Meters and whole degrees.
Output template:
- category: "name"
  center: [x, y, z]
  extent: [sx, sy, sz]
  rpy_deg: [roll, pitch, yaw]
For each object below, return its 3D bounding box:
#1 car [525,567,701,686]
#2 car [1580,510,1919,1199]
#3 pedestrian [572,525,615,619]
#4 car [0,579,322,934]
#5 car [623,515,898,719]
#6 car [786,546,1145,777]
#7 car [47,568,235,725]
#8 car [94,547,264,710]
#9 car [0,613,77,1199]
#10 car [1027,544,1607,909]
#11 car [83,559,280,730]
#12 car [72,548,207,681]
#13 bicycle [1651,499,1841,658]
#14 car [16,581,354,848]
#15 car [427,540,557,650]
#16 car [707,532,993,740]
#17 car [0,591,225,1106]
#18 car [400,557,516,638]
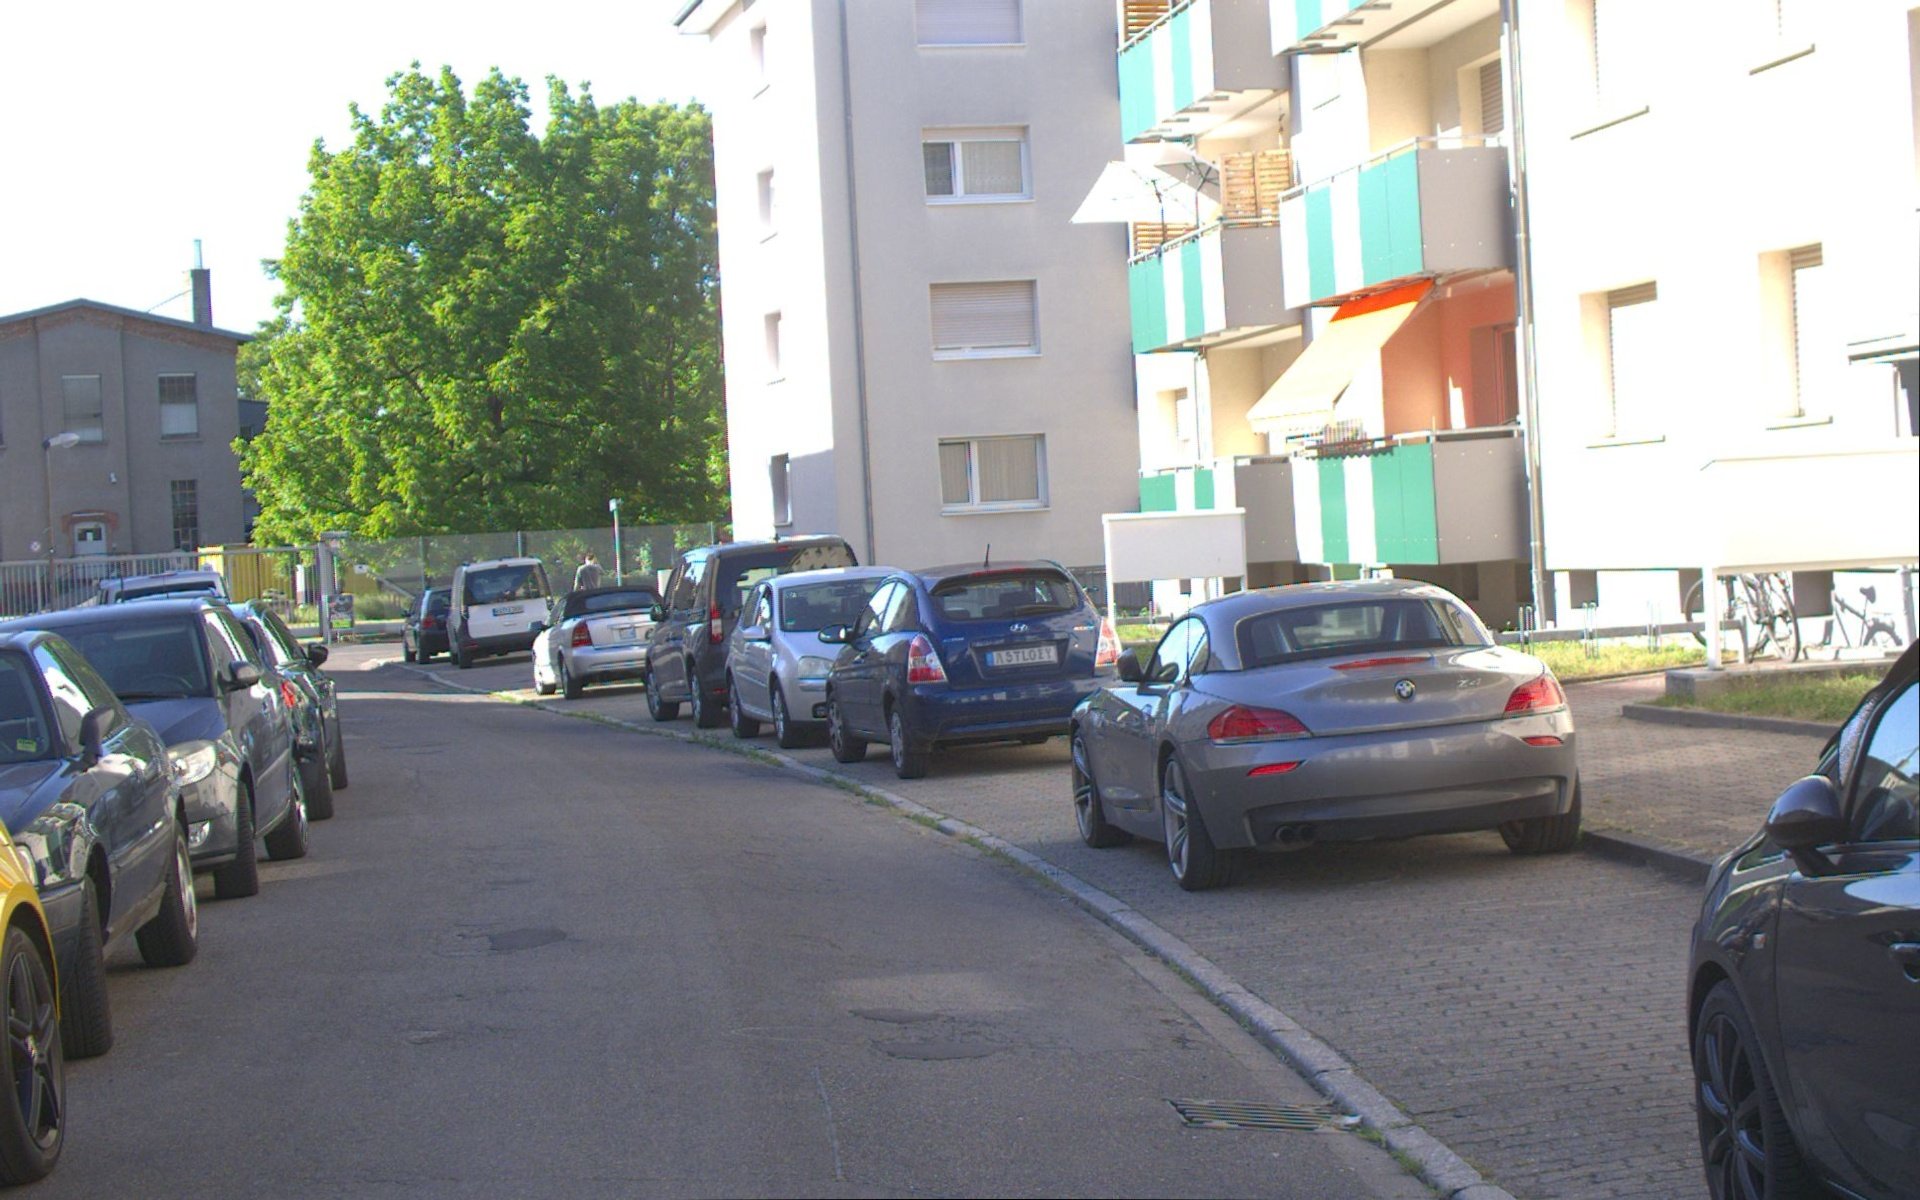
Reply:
- category: "car"
  center: [-4.651, 0.315, 45.664]
  extent: [1.717, 1.359, 4.056]
  rpy_deg: [-5, 2, -13]
- category: "car"
  center: [2.450, 0.575, 5.872]
  extent: [1.735, 1.503, 3.886]
  rpy_deg: [-6, 2, -3]
- category: "pedestrian"
  center: [-7.307, -0.557, 68.568]
  extent: [0.654, 1.809, 0.614]
  rpy_deg: [-5, 1, -3]
- category: "car"
  center: [-4.262, 0.729, 17.660]
  extent: [1.478, 1.472, 3.632]
  rpy_deg: [-7, 1, -6]
- category: "car"
  center: [-2.125, 0.176, 35.336]
  extent: [1.896, 1.849, 4.345]
  rpy_deg: [-4, 1, -14]
- category: "car"
  center: [-0.064, 0.408, 25.703]
  extent: [1.737, 1.427, 4.357]
  rpy_deg: [-5, 1, -11]
- category: "car"
  center: [-9.240, 0.493, 38.749]
  extent: [1.832, 1.510, 4.001]
  rpy_deg: [-5, 1, -14]
- category: "car"
  center: [-9.968, 0.359, 43.786]
  extent: [1.896, 1.849, 4.196]
  rpy_deg: [-4, 1, -13]
- category: "car"
  center: [-3.116, 0.851, 6.984]
  extent: [1.694, 1.384, 4.157]
  rpy_deg: [-4, 2, -3]
- category: "car"
  center: [1.547, 0.490, 16.491]
  extent: [1.685, 1.358, 4.241]
  rpy_deg: [-6, 2, -8]
- category: "car"
  center: [-7.661, 0.406, 33.743]
  extent: [1.658, 1.438, 3.872]
  rpy_deg: [-5, 1, -13]
- category: "car"
  center: [-14.069, 0.235, 58.980]
  extent: [1.993, 2.006, 4.455]
  rpy_deg: [-5, 1, -13]
- category: "bicycle"
  center: [5.867, -0.178, 25.757]
  extent: [0.649, 1.064, 1.733]
  rpy_deg: [-8, 3, -10]
- category: "car"
  center: [-5.098, 0.678, 23.131]
  extent: [1.743, 1.426, 4.599]
  rpy_deg: [-6, 1, -8]
- category: "car"
  center: [-8.370, -0.093, 61.286]
  extent: [1.765, 1.733, 4.095]
  rpy_deg: [-5, 1, -13]
- category: "car"
  center: [-1.042, 0.274, 30.276]
  extent: [1.681, 1.582, 4.014]
  rpy_deg: [-5, 1, -13]
- category: "car"
  center: [-3.721, 0.805, 12.440]
  extent: [1.568, 1.459, 4.263]
  rpy_deg: [-5, 2, -7]
- category: "car"
  center: [-9.763, -0.050, 66.622]
  extent: [1.765, 1.357, 4.095]
  rpy_deg: [-5, 1, -13]
